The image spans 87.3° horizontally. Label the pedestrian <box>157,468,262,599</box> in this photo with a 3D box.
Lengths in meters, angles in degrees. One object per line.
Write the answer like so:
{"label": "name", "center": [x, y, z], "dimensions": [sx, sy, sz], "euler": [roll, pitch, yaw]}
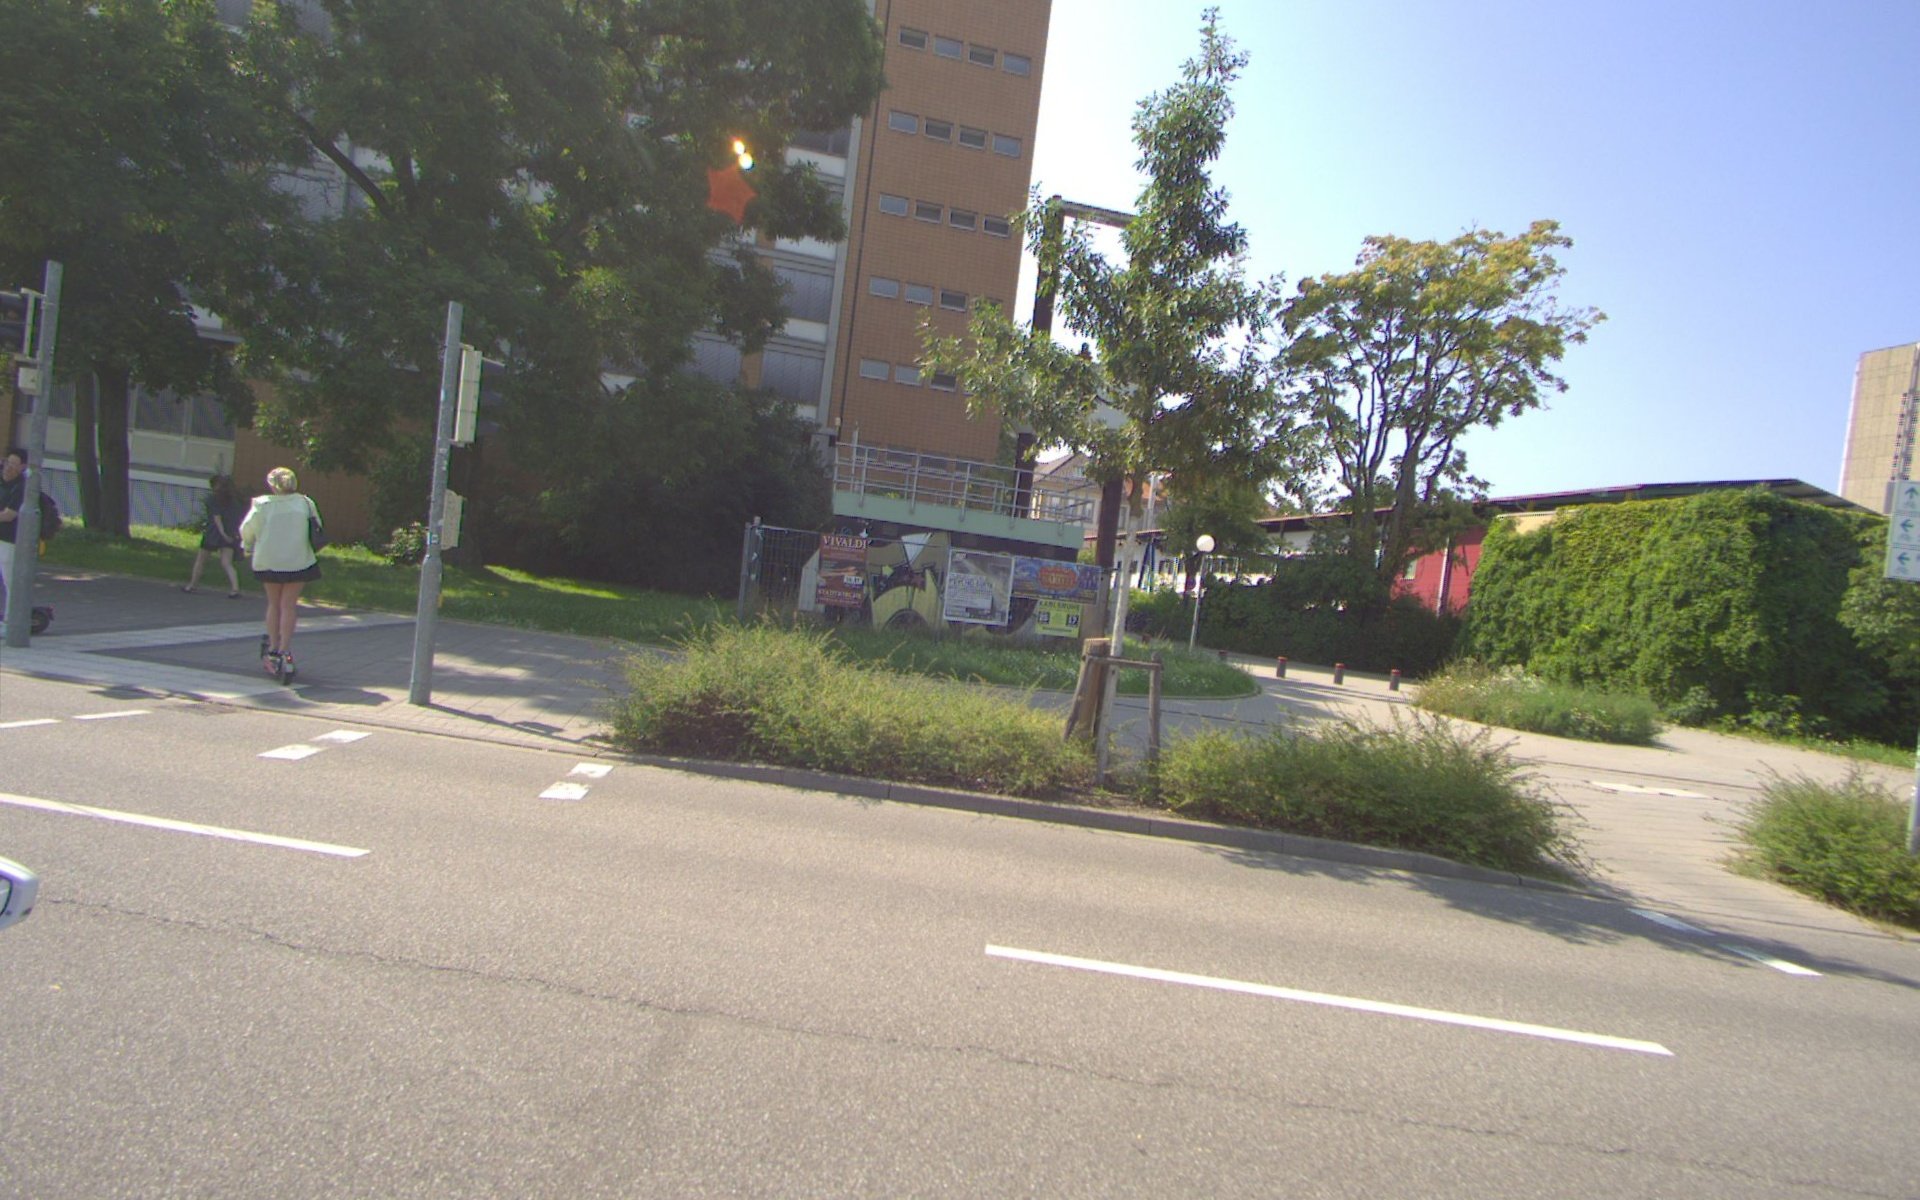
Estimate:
{"label": "pedestrian", "center": [-10.715, -0.938, 14.383], "dimensions": [0.862, 1.728, 0.707], "euler": [7, 4, 6]}

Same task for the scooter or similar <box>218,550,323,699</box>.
{"label": "scooter or similar", "center": [-6.326, 0.185, 9.185], "dimensions": [0.554, 1.074, 1.981], "euler": [6, 3, -39]}

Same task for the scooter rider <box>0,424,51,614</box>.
{"label": "scooter rider", "center": [-9.295, -0.796, 9.507], "dimensions": [0.677, 1.762, 0.803], "euler": [8, 3, 30]}

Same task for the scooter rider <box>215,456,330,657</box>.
{"label": "scooter rider", "center": [-6.283, -0.393, 9.191], "dimensions": [0.667, 1.721, 0.533], "euler": [7, 3, -40]}

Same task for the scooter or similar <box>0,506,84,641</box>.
{"label": "scooter or similar", "center": [-9.377, -0.274, 9.598], "dimensions": [0.575, 1.251, 1.364], "euler": [8, 2, 30]}
